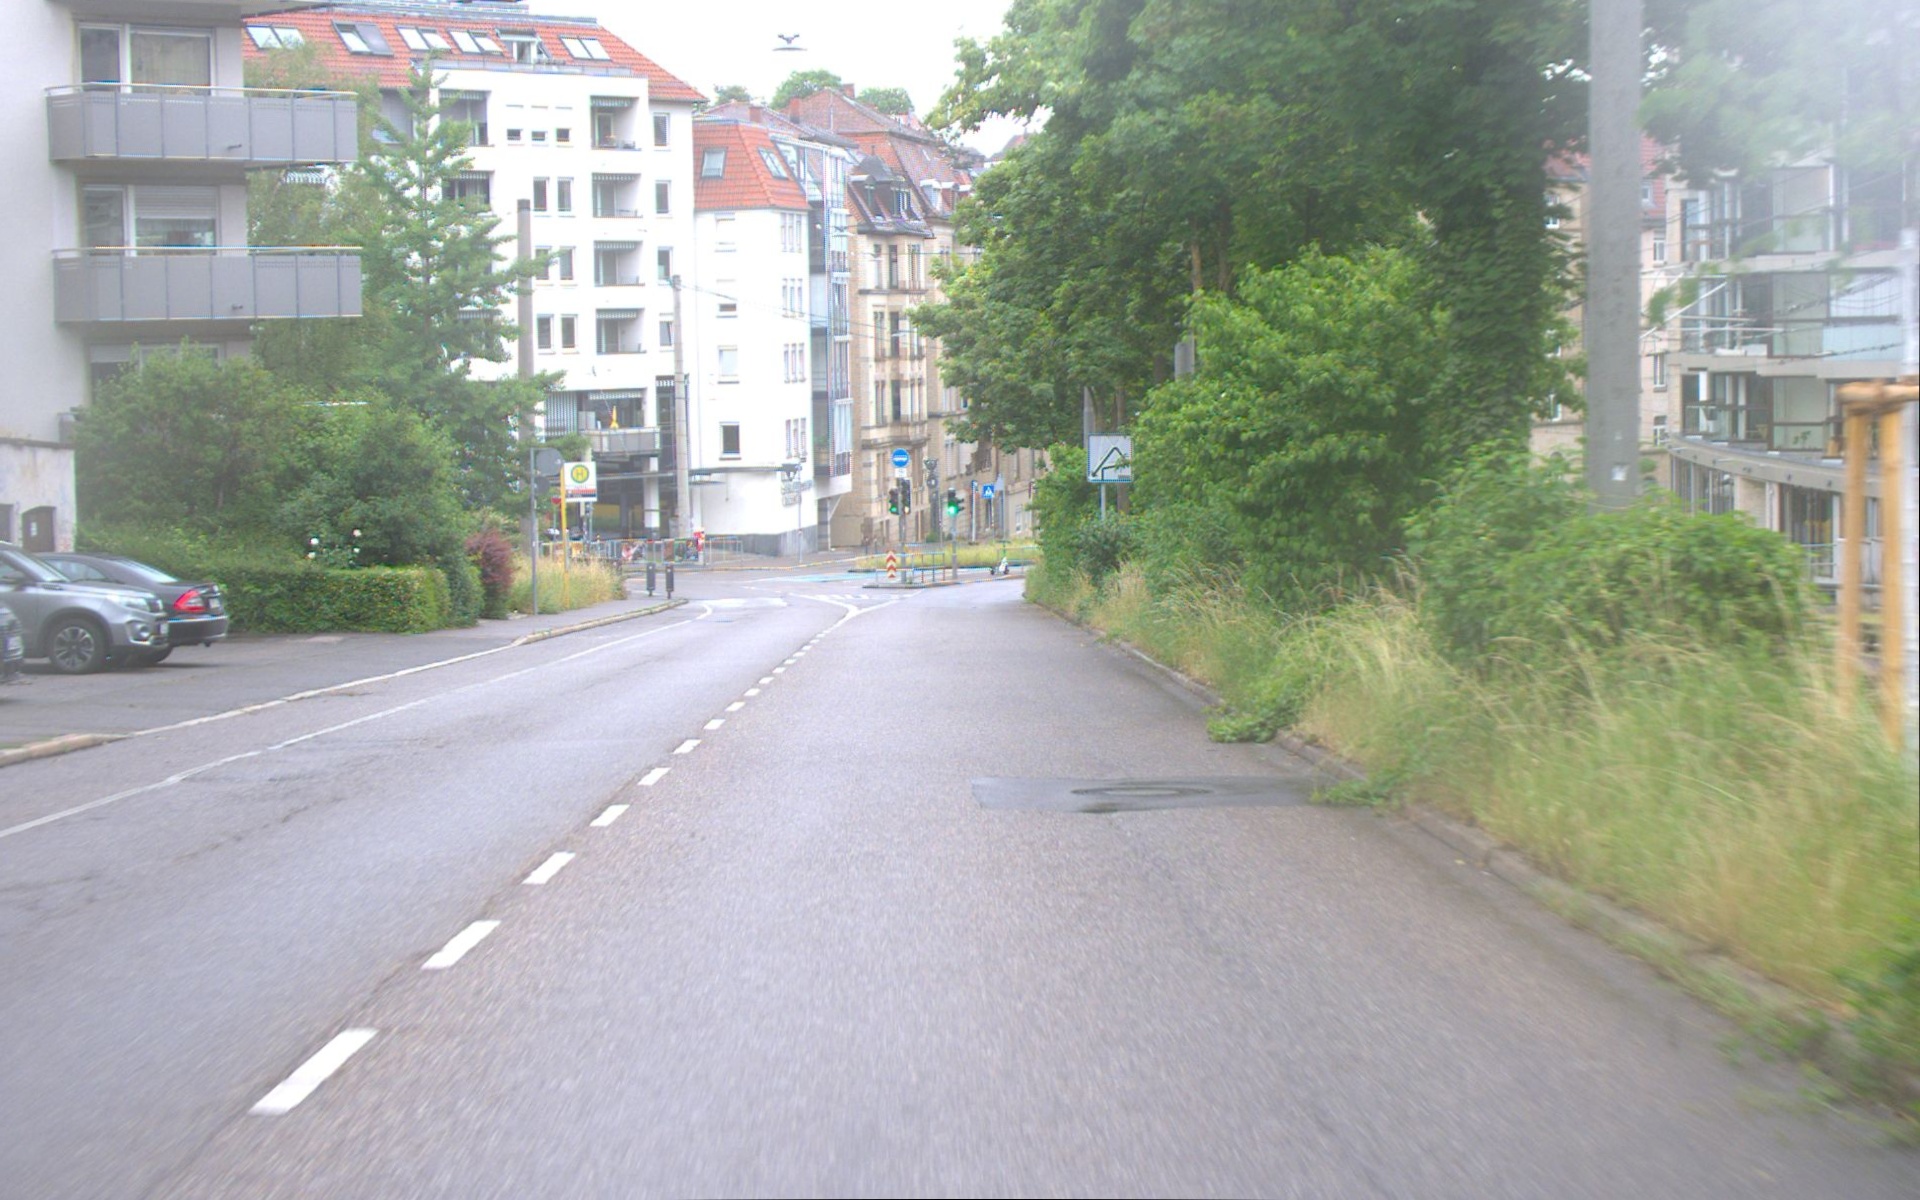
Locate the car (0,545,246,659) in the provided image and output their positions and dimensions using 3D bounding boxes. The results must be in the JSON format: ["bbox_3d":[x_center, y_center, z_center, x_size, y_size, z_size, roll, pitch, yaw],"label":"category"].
[{"bbox_3d":[-11.030,0.019,43.384,3.631,1.402,1.783,0,0,1],"label":"car"}]

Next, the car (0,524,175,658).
[{"bbox_3d":[-11.542,-0.111,41.038,3.986,1.554,1.880,0,0,-4],"label":"car"}]

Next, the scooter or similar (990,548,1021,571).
[{"bbox_3d":[1.561,-1.374,117.164,0.485,0.759,1.328,-1,1,28],"label":"scooter or similar"}]

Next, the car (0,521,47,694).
[{"bbox_3d":[-11.273,0.064,33.138,4.449,1.597,1.814,0,2,-1],"label":"car"}]
